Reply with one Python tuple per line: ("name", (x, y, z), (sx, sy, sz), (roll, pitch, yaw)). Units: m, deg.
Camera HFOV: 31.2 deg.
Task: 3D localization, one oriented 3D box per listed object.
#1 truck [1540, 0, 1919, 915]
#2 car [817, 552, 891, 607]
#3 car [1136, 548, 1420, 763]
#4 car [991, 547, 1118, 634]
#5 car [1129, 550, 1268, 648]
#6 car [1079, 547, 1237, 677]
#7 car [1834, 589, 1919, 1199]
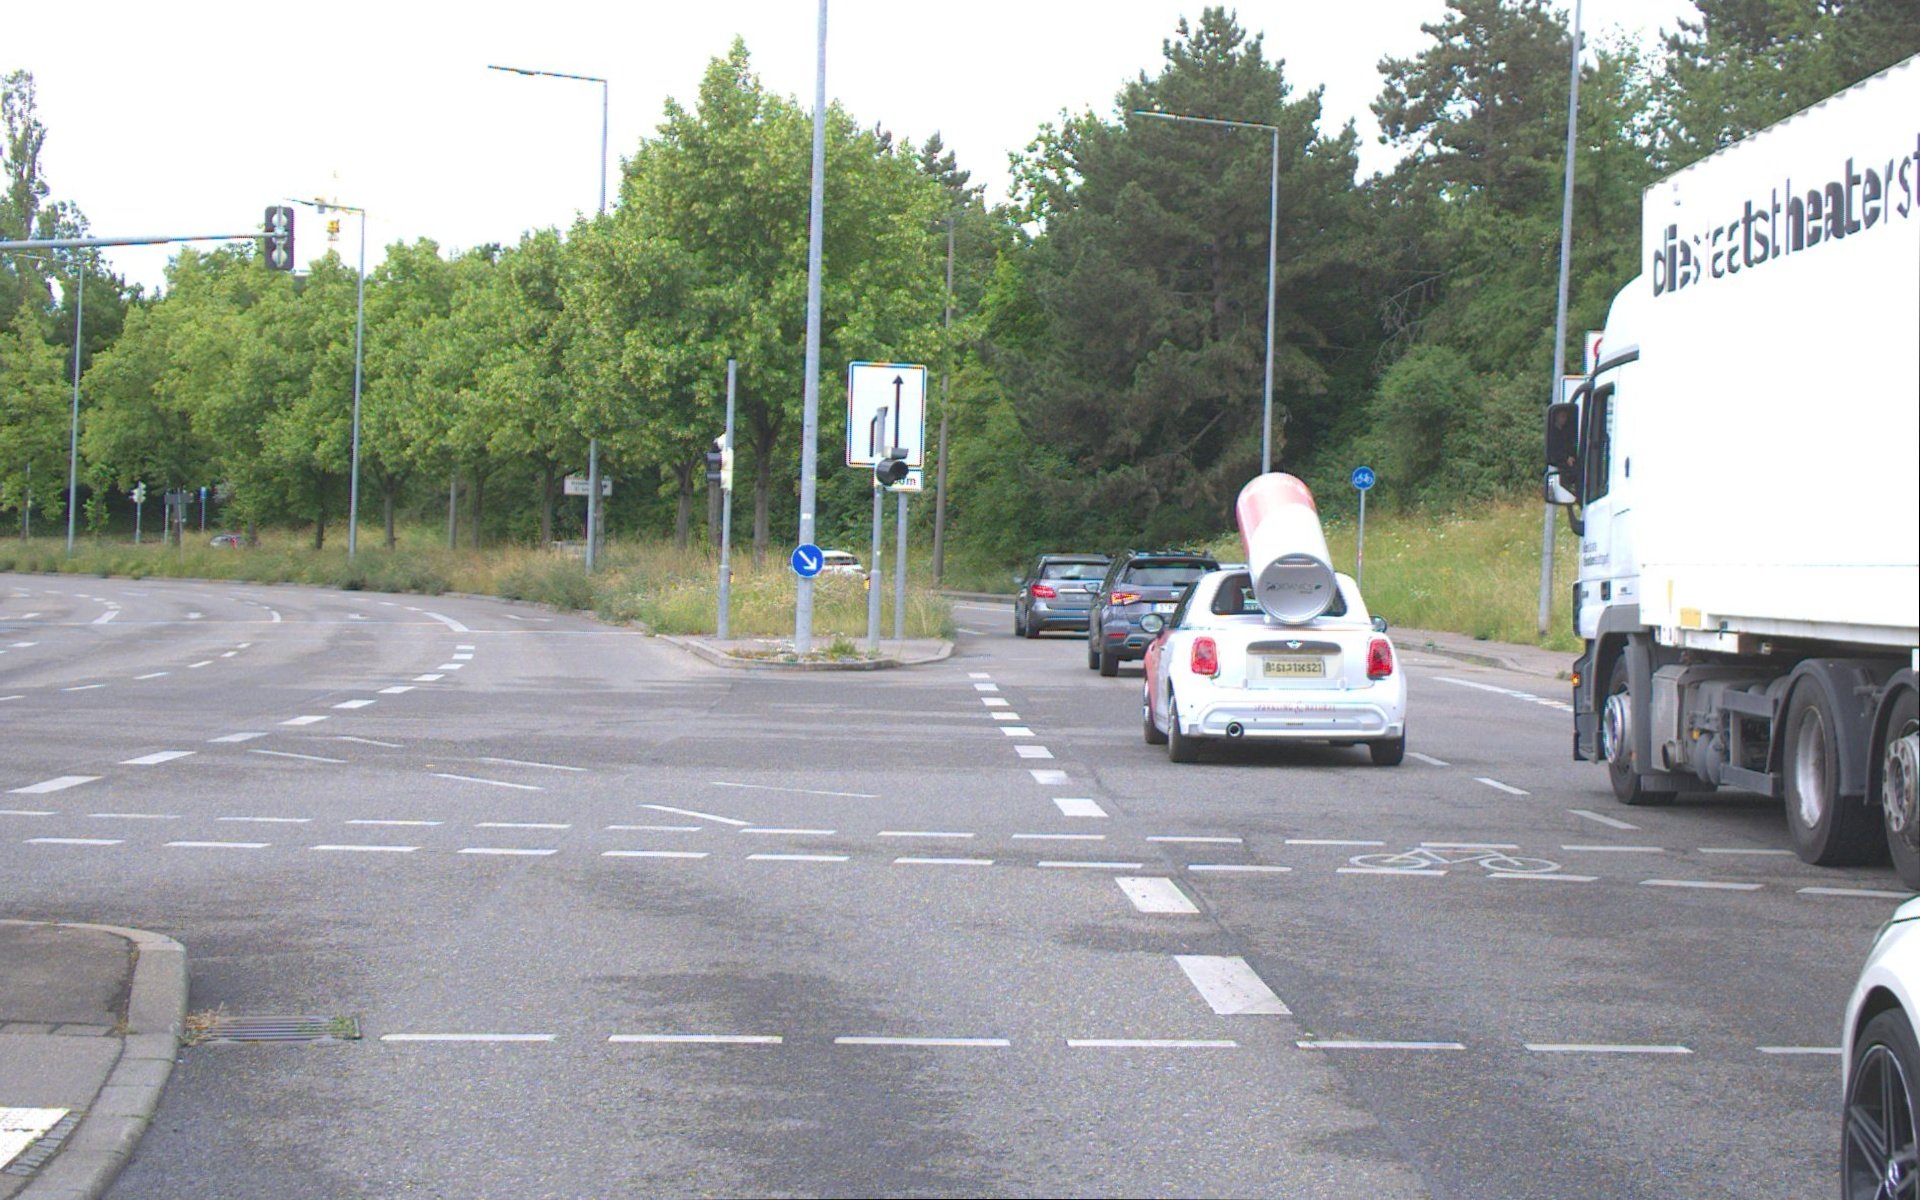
("truck", (5.396, -0.682, 17.762), (2.802, 3.890, 10.183), (1, 1, -1))
("car", (-3.024, -0.597, 97.424), (1.844, 1.501, 4.531), (1, 0, -5))
("car", (2.343, 0.378, 26.096), (1.821, 1.501, 3.494), (1, 0, 0))
("car", (1.689, -0.195, 62.547), (1.746, 1.503, 4.049), (1, 1, -6))
("car", (3.603, -0.046, 52.548), (1.746, 1.378, 4.291), (1, 1, -1))
("car", (2.401, 0.109, 42.506), (1.624, 1.488, 3.837), (1, 1, -1))
("car", (2.608, 0.712, 4.521), (1.799, 1.407, 4.317), (1, 0, 0))
